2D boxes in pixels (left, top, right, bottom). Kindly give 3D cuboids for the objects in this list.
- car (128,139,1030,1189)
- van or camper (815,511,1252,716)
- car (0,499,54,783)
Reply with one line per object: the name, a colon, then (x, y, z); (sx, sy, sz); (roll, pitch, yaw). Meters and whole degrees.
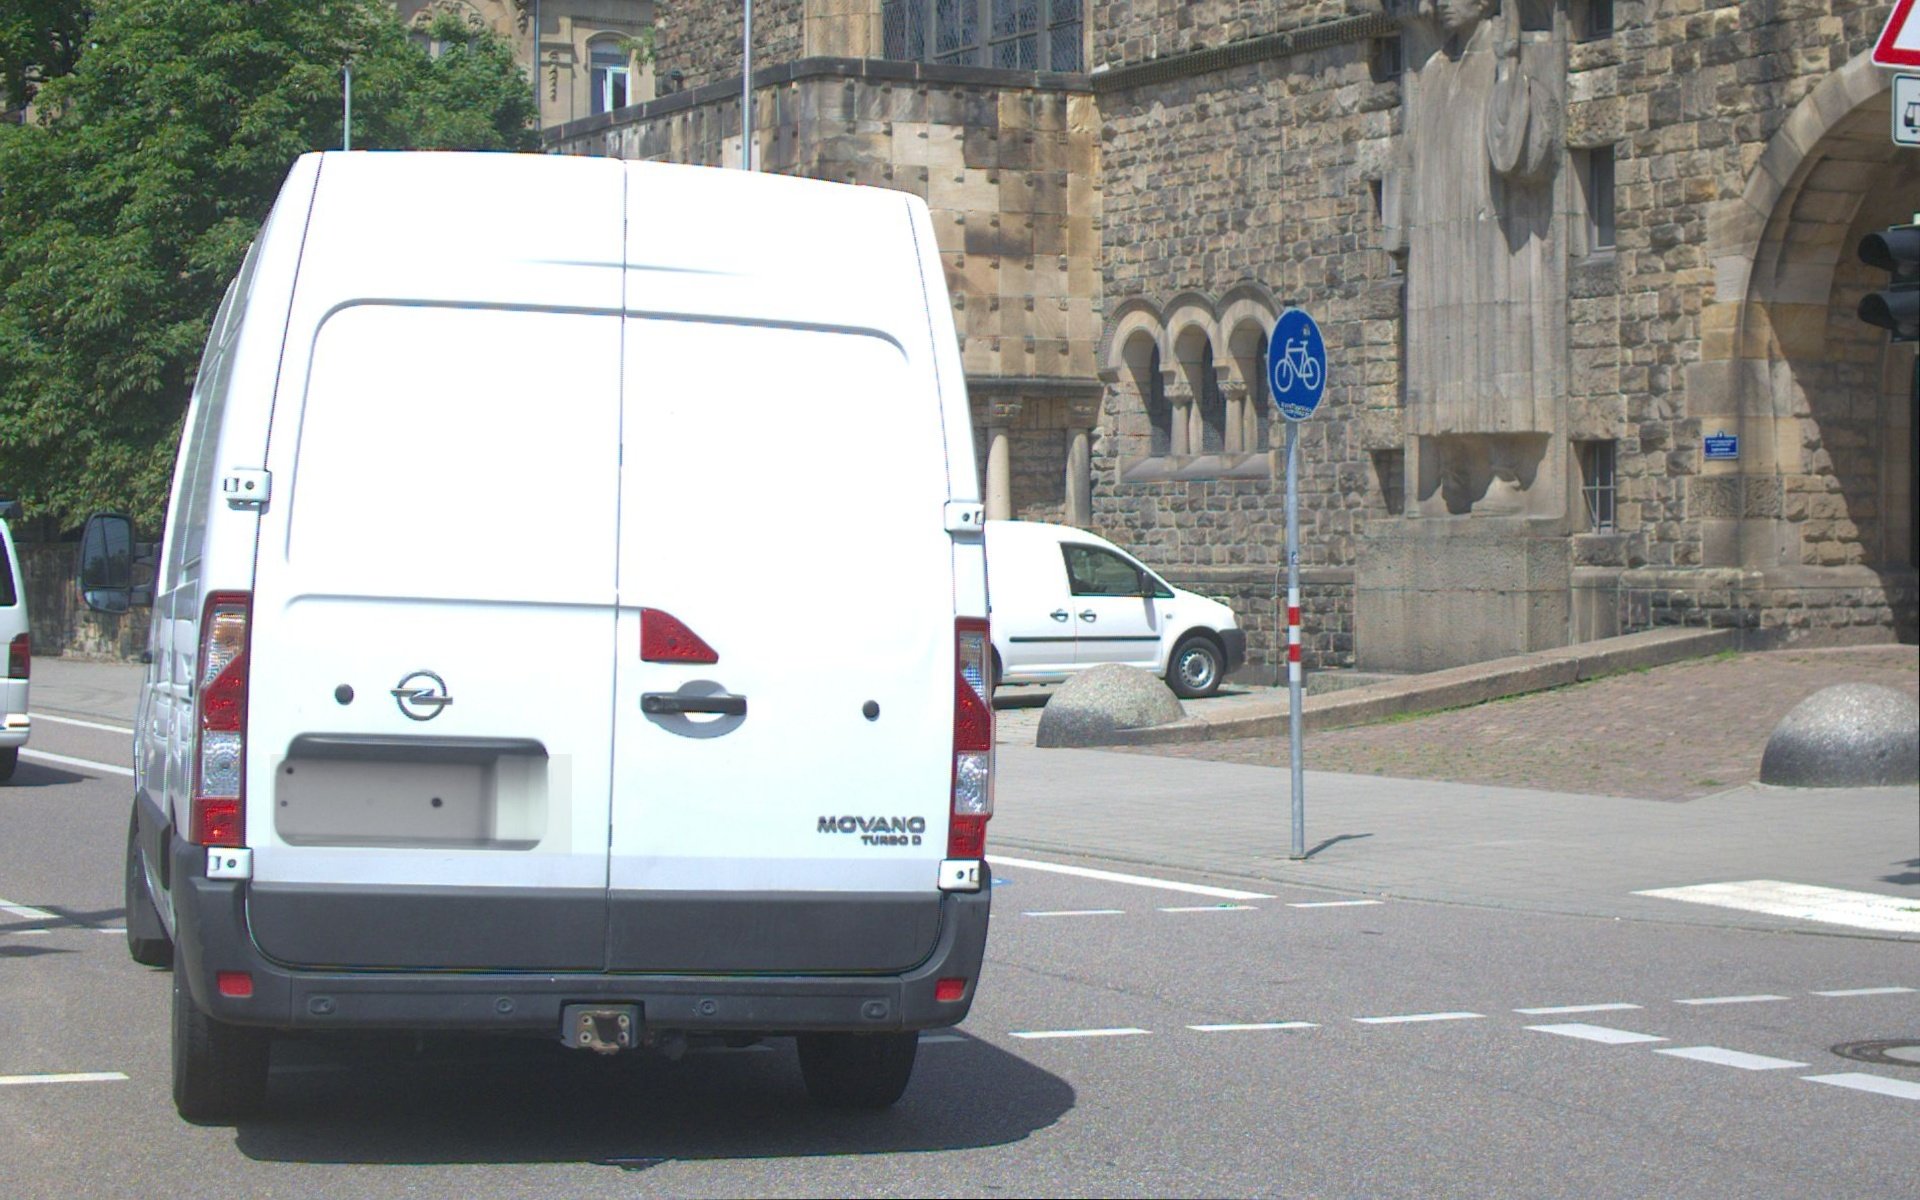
car: (-1.477, 0.146, 10.733); (2.116, 2.451, 5.056); (1, 0, -14)
van or camper: (0.741, 0.083, 34.108); (3.987, 1.819, 1.803); (-2, 4, -31)
car: (-8.083, 0.249, 24.973); (1.916, 1.937, 4.264); (1, 0, -29)
